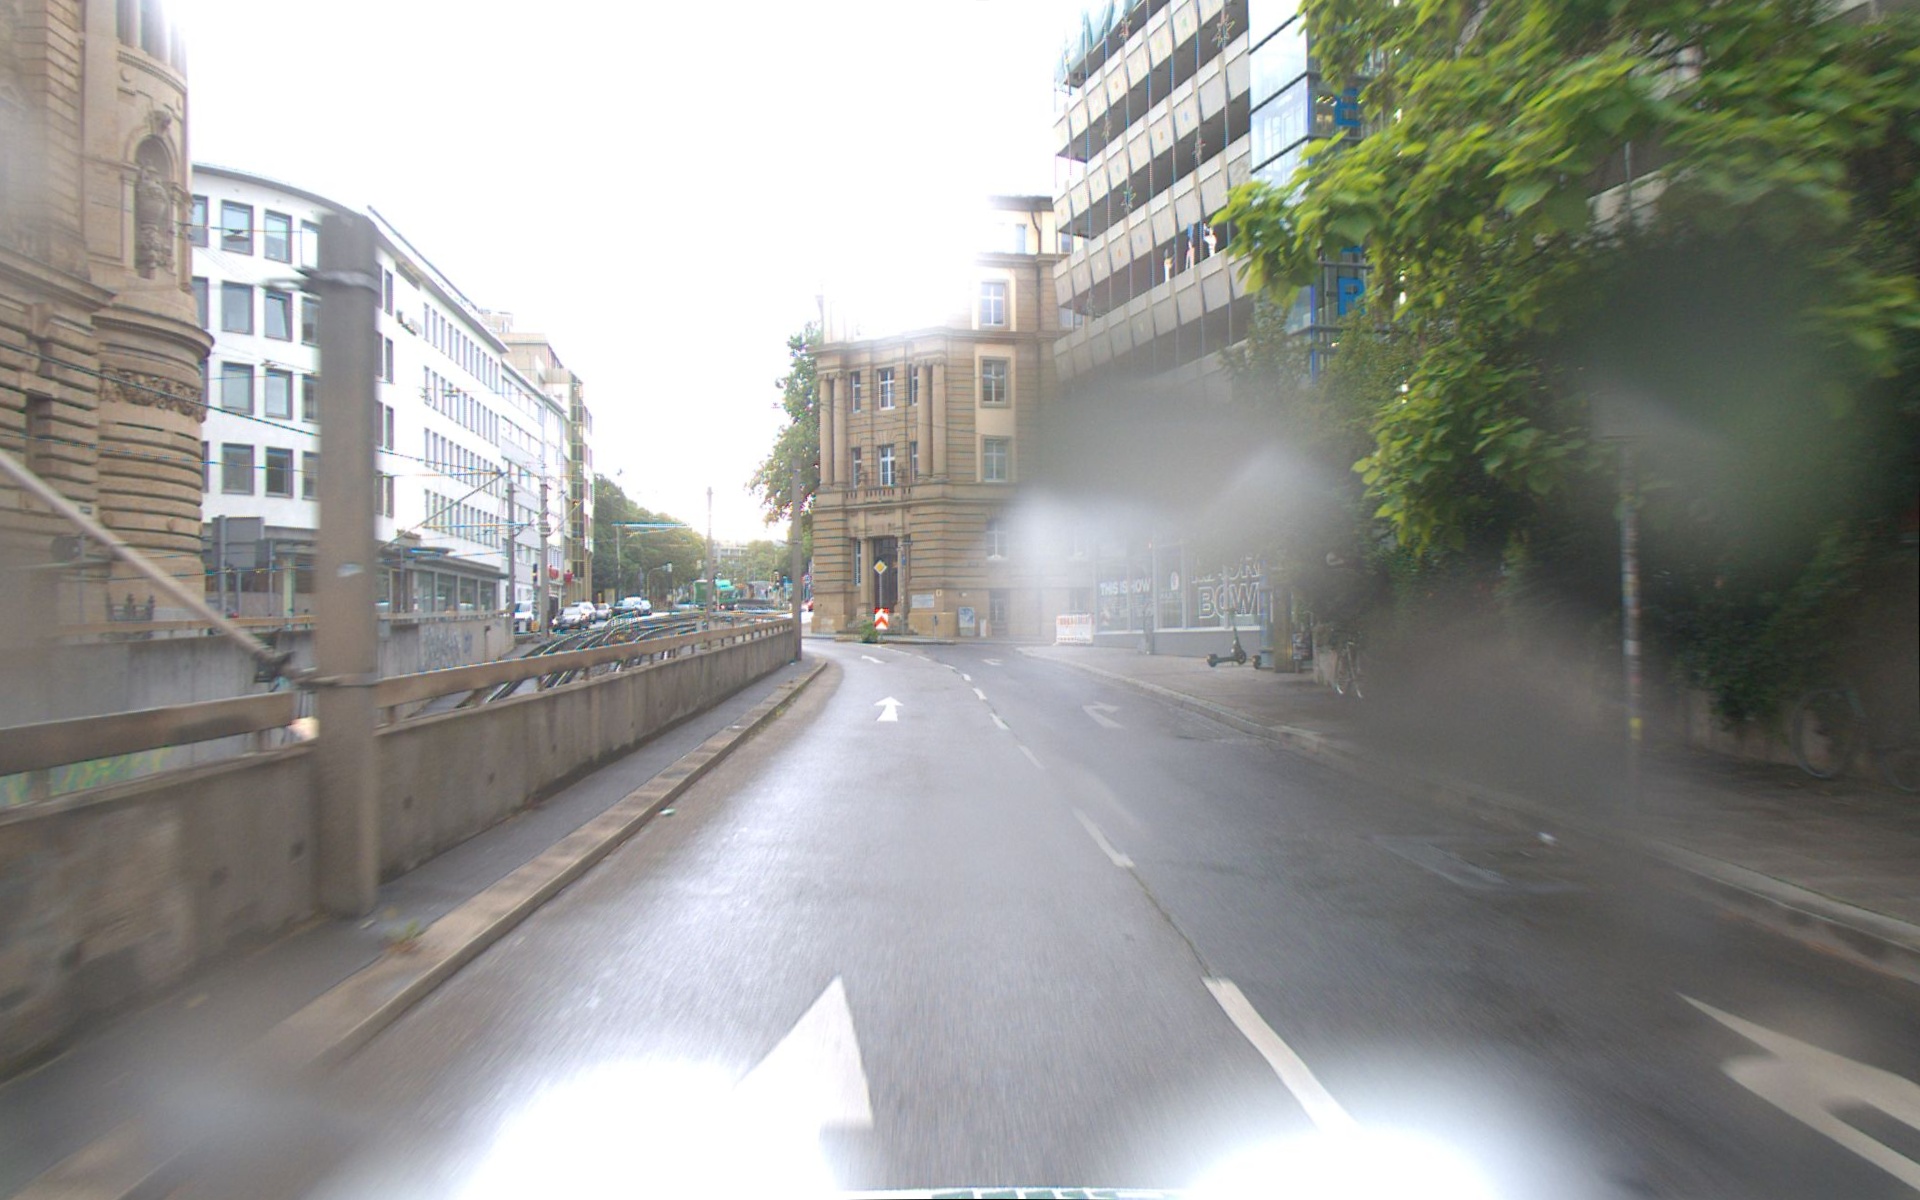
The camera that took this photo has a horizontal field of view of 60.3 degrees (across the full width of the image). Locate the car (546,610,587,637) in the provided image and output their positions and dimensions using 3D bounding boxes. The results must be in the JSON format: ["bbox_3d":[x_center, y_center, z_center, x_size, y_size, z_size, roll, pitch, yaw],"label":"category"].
[{"bbox_3d":[-23.356,1.358,98.301,1.955,1.554,3.657,0,0,-7],"label":"car"}]

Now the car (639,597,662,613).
[{"bbox_3d":[-30.483,0.488,162.997,1.955,1.482,4.305,0,0,-7],"label":"car"}]

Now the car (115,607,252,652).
[{"bbox_3d":[-31.480,1.190,67.162,4.741,1.548,1.650,-3,0,-42],"label":"car"}]

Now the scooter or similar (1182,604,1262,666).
[{"bbox_3d":[5.878,0.766,37.055,1.615,1.290,0.737,-3,1,-27],"label":"scooter or similar"}]

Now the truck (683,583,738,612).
[{"bbox_3d":[-30.894,-0.291,204.722,7.778,3.446,1.990,1,0,39],"label":"truck"}]

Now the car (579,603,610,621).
[{"bbox_3d":[-29.634,0.949,134.128,1.955,1.482,4.305,0,0,-7],"label":"car"}]

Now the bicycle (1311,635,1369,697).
[{"bbox_3d":[5.889,1.008,25.684,0.460,0.900,1.689,-1,0,-1],"label":"bicycle"}]

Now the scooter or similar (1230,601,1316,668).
[{"bbox_3d":[6.539,0.705,34.524,1.615,1.290,0.737,-3,1,-27],"label":"scooter or similar"}]

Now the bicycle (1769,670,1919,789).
[{"bbox_3d":[6.667,0.955,12.475,0.490,0.767,1.211,-3,0,-1],"label":"bicycle"}]

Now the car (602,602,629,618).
[{"bbox_3d":[-31.336,0.913,150.596,1.955,1.482,4.305,0,0,-7],"label":"car"}]

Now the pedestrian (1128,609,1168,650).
[{"bbox_3d":[5.367,0.824,47.215,0.740,1.143,1.242,0,0,-15],"label":"pedestrian"}]

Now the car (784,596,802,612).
[{"bbox_3d":[-18.467,0.436,182.534,1.955,1.691,3.994,0,0,-6],"label":"car"}]

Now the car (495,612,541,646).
[{"bbox_3d":[-26.464,1.726,99.224,1.955,1.916,4.920,0,0,-6],"label":"car"}]
